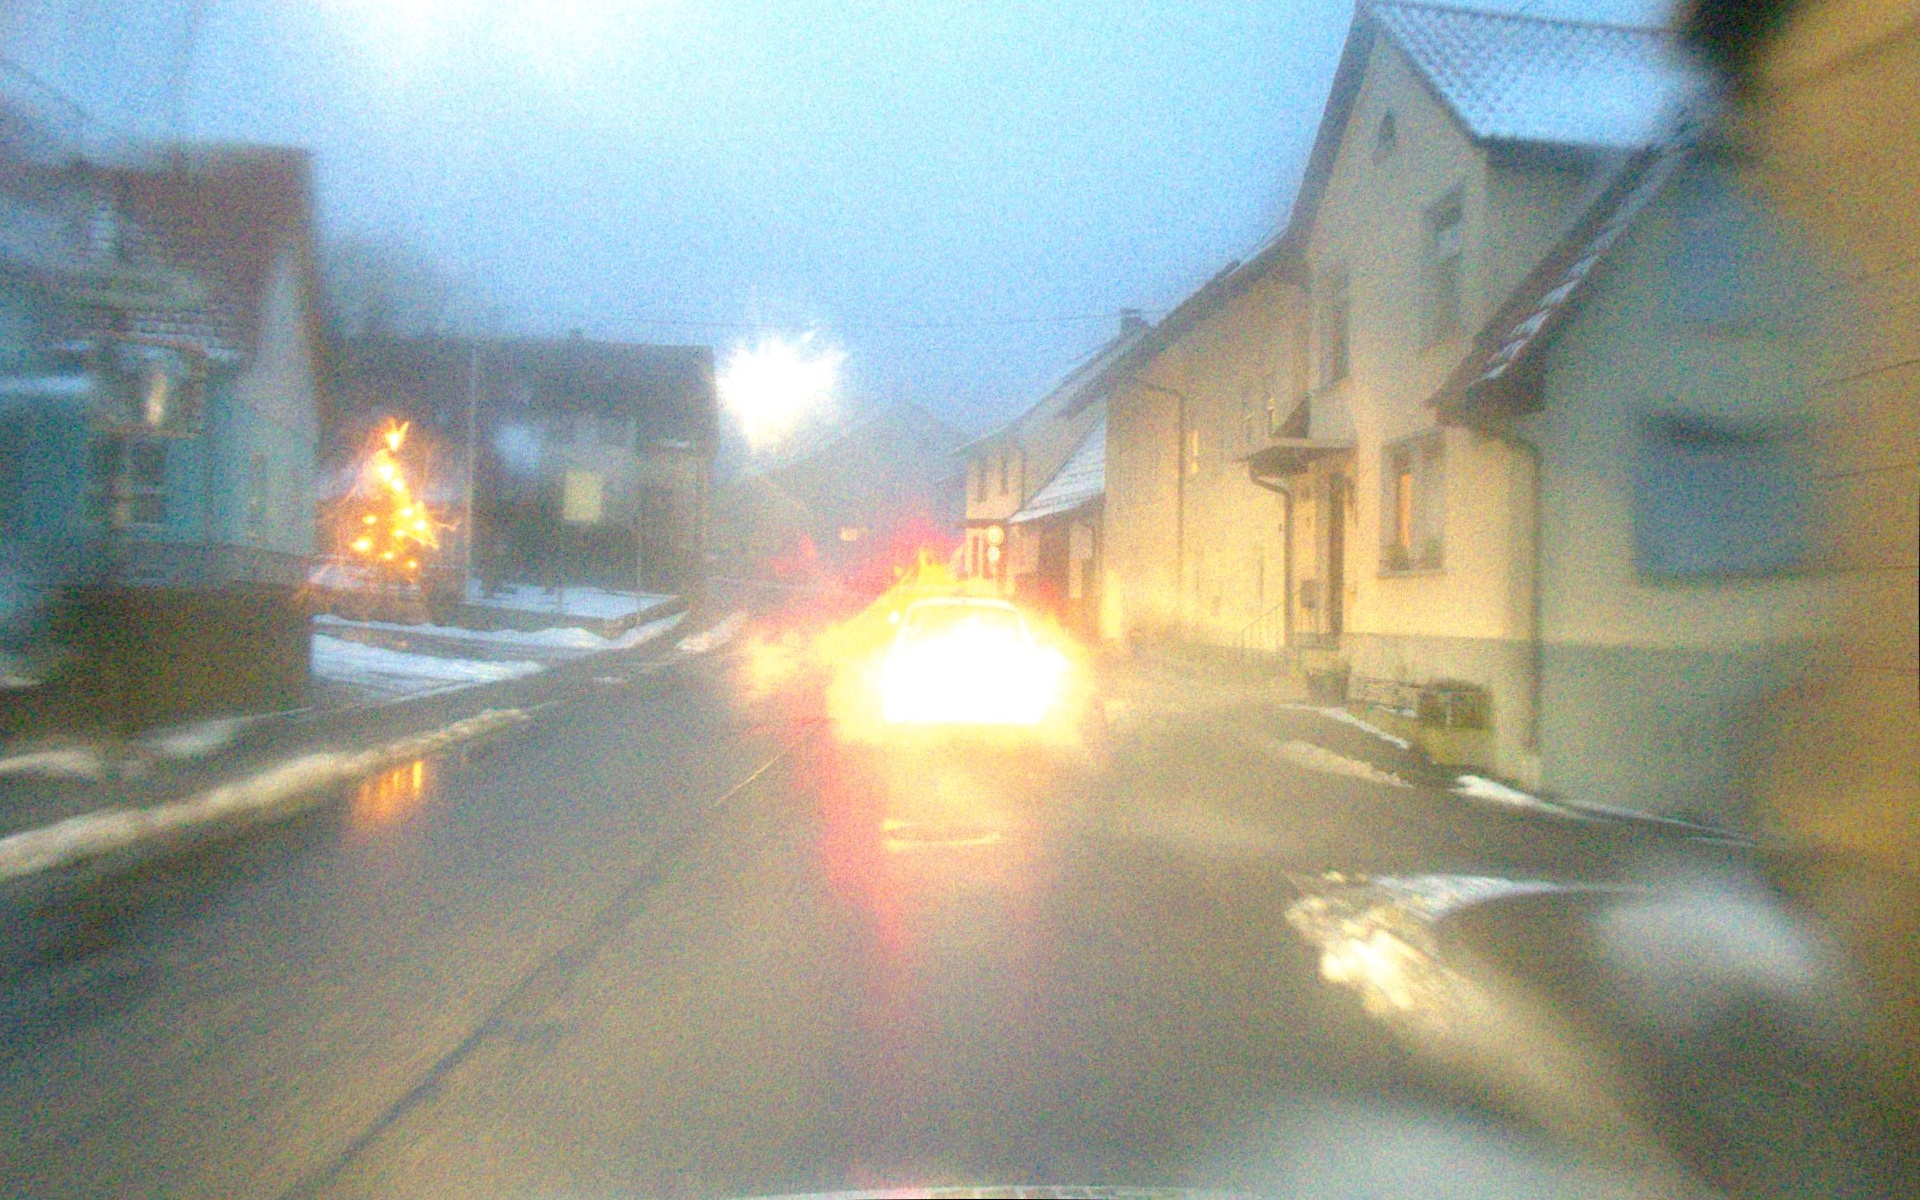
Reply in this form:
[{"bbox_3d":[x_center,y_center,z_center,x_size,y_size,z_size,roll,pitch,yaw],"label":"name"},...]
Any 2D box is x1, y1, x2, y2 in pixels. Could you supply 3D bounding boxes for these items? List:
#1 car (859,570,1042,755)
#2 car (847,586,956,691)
[{"bbox_3d":[-0.140,0.595,17.036,1.612,1.624,3.698,3,-1,-2],"label":"car"},{"bbox_3d":[-1.065,0.631,28.520,1.613,1.624,3.695,3,-1,-5],"label":"car"}]
